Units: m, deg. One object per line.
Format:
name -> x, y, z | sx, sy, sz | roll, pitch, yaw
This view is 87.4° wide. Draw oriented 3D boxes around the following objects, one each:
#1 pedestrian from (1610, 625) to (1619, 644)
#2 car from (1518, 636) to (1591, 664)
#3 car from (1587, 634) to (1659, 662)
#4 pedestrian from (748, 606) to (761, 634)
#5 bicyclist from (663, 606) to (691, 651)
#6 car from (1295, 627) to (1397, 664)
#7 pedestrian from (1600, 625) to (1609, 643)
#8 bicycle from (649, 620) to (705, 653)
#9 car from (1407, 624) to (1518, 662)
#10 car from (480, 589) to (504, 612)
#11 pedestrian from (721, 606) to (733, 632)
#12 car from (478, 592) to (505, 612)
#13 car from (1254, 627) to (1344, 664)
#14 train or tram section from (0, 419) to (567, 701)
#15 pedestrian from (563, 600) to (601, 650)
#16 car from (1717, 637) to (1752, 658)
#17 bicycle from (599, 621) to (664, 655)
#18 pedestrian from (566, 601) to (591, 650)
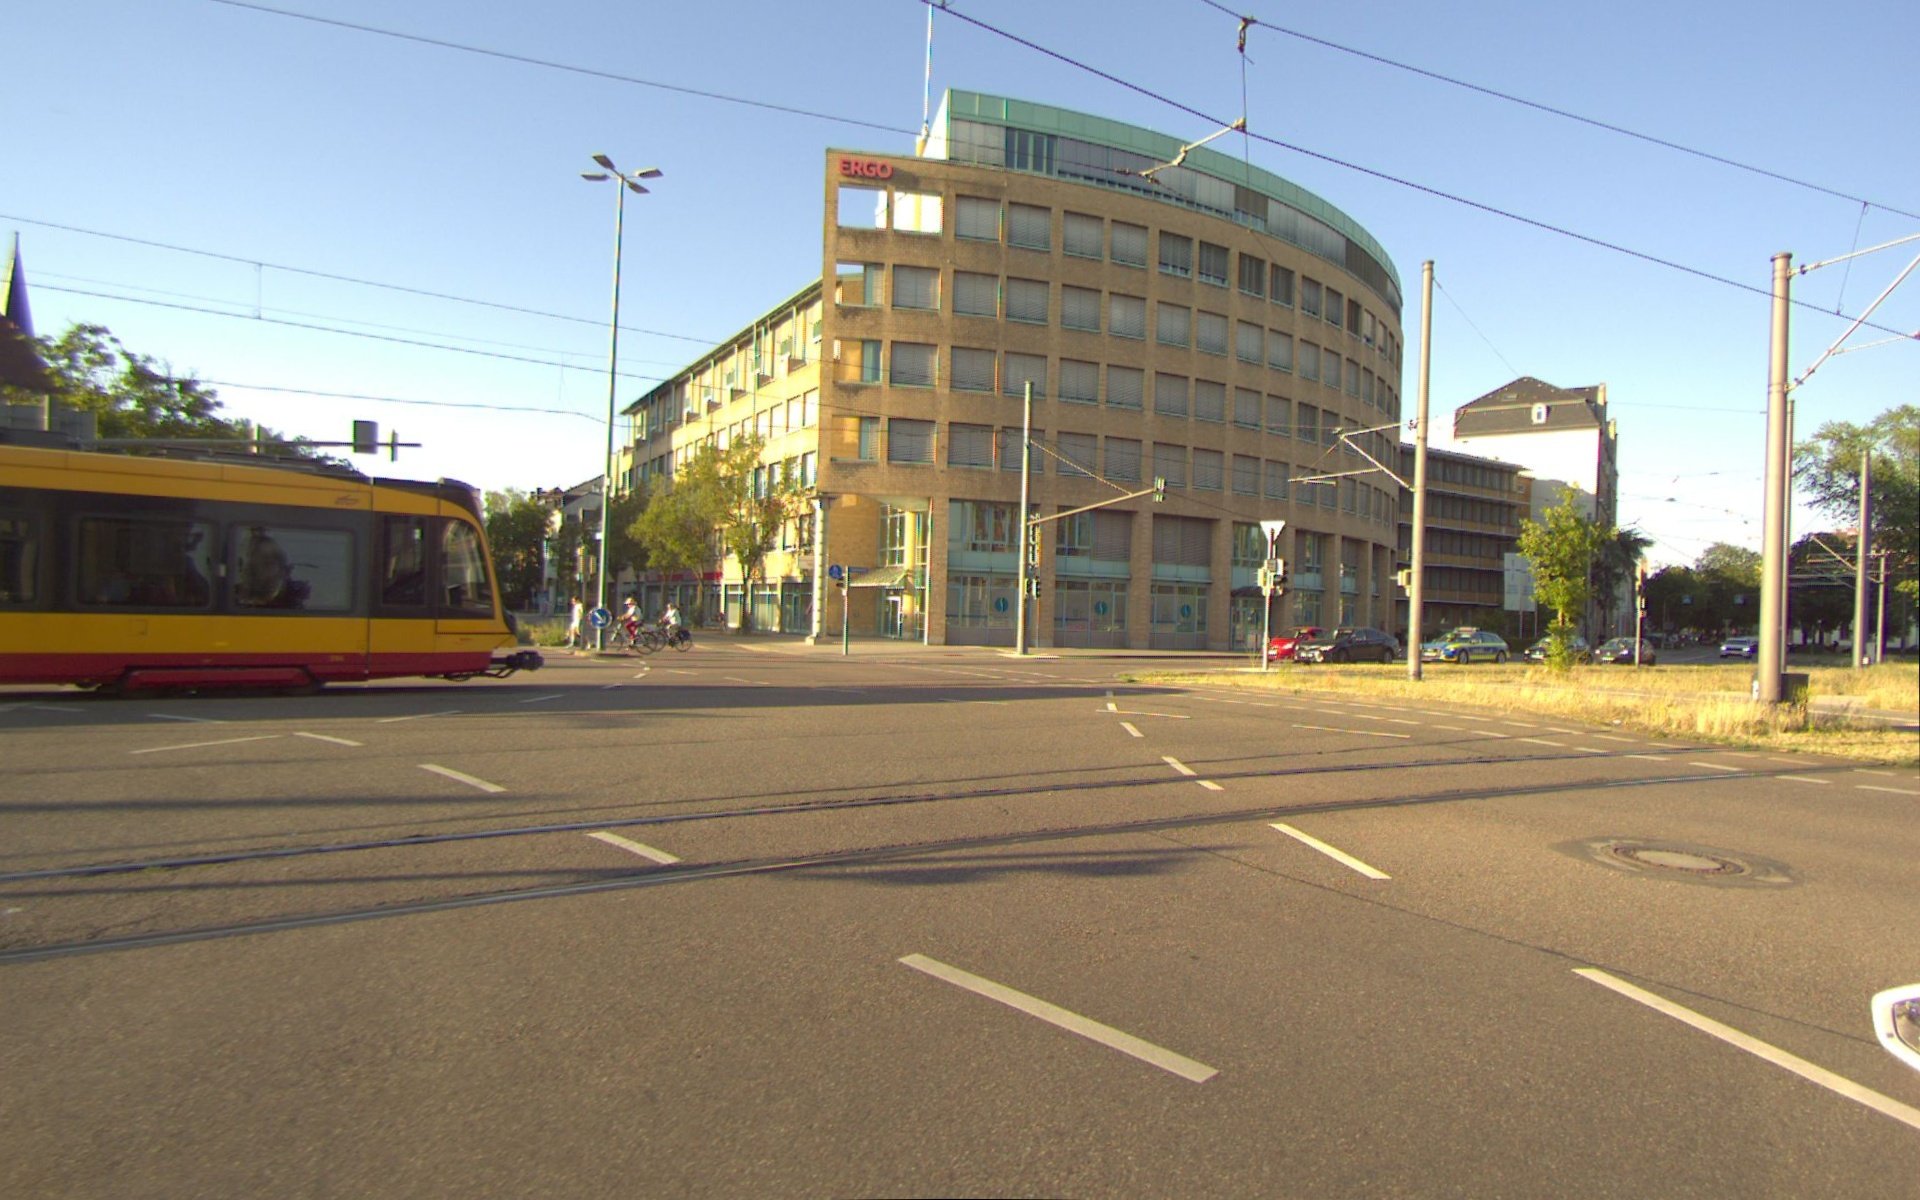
pedestrian -> 51.439, 2.736, 78.939 | 0.480, 1.449, 0.411 | 1, 0, -32
car -> 27.799, 2.331, 46.943 | 3.561, 1.169, 1.511 | 2, 0, -34
car -> 33.386, 2.392, 50.551 | 3.698, 1.298, 1.637 | 2, 0, -32
pedestrian -> -11.949, 1.152, 58.402 | 0.573, 1.576, 0.741 | 1, 0, -25
bicyclist -> -10.236, 1.020, 36.321 | 0.813, 1.605, 0.515 | 1, 1, -38
car -> 14.776, 1.746, 38.433 | 3.747, 1.299, 1.715 | 2, 0, -32
pedestrian -> 51.044, 2.712, 79.576 | 0.480, 1.449, 0.411 | 1, 0, -32
bicycle -> -10.220, 1.319, 36.316 | 1.902, 1.161, 0.455 | 2, 1, -38
car -> 21.307, 1.827, 42.576 | 4.724, 1.500, 1.880 | 2, 0, -30
car -> -51.354, 0.022, 110.116 | 1.977, 2.374, 3.967 | 2, 0, -30
pedestrian -> -14.435, 1.167, 62.231 | 0.573, 1.576, 0.741 | 1, 0, -25
car -> -51.428, 0.216, 110.215 | 2.208, 2.040, 4.561 | 2, 0, -32
car -> 14.312, 1.896, 42.339 | 3.850, 1.433, 1.712 | 2, 0, -37
train or tram section -> -11.612, -0.480, 14.800 | 10.456, 3.583, 2.757 | 2, 0, -33
pedestrian -> -12.962, 0.857, 34.418 | 1.092, 1.695, 0.732 | 2, 0, -29
car -> 61.656, 3.739, 79.938 | 1.751, 1.502, 4.284 | 1, 0, 43
bicycle -> -10.501, 1.226, 32.091 | 1.904, 1.040, 0.457 | 2, 1, -25
pedestrian -> -13.346, 0.890, 35.129 | 0.709, 1.695, 0.732 | 1, 0, -29
